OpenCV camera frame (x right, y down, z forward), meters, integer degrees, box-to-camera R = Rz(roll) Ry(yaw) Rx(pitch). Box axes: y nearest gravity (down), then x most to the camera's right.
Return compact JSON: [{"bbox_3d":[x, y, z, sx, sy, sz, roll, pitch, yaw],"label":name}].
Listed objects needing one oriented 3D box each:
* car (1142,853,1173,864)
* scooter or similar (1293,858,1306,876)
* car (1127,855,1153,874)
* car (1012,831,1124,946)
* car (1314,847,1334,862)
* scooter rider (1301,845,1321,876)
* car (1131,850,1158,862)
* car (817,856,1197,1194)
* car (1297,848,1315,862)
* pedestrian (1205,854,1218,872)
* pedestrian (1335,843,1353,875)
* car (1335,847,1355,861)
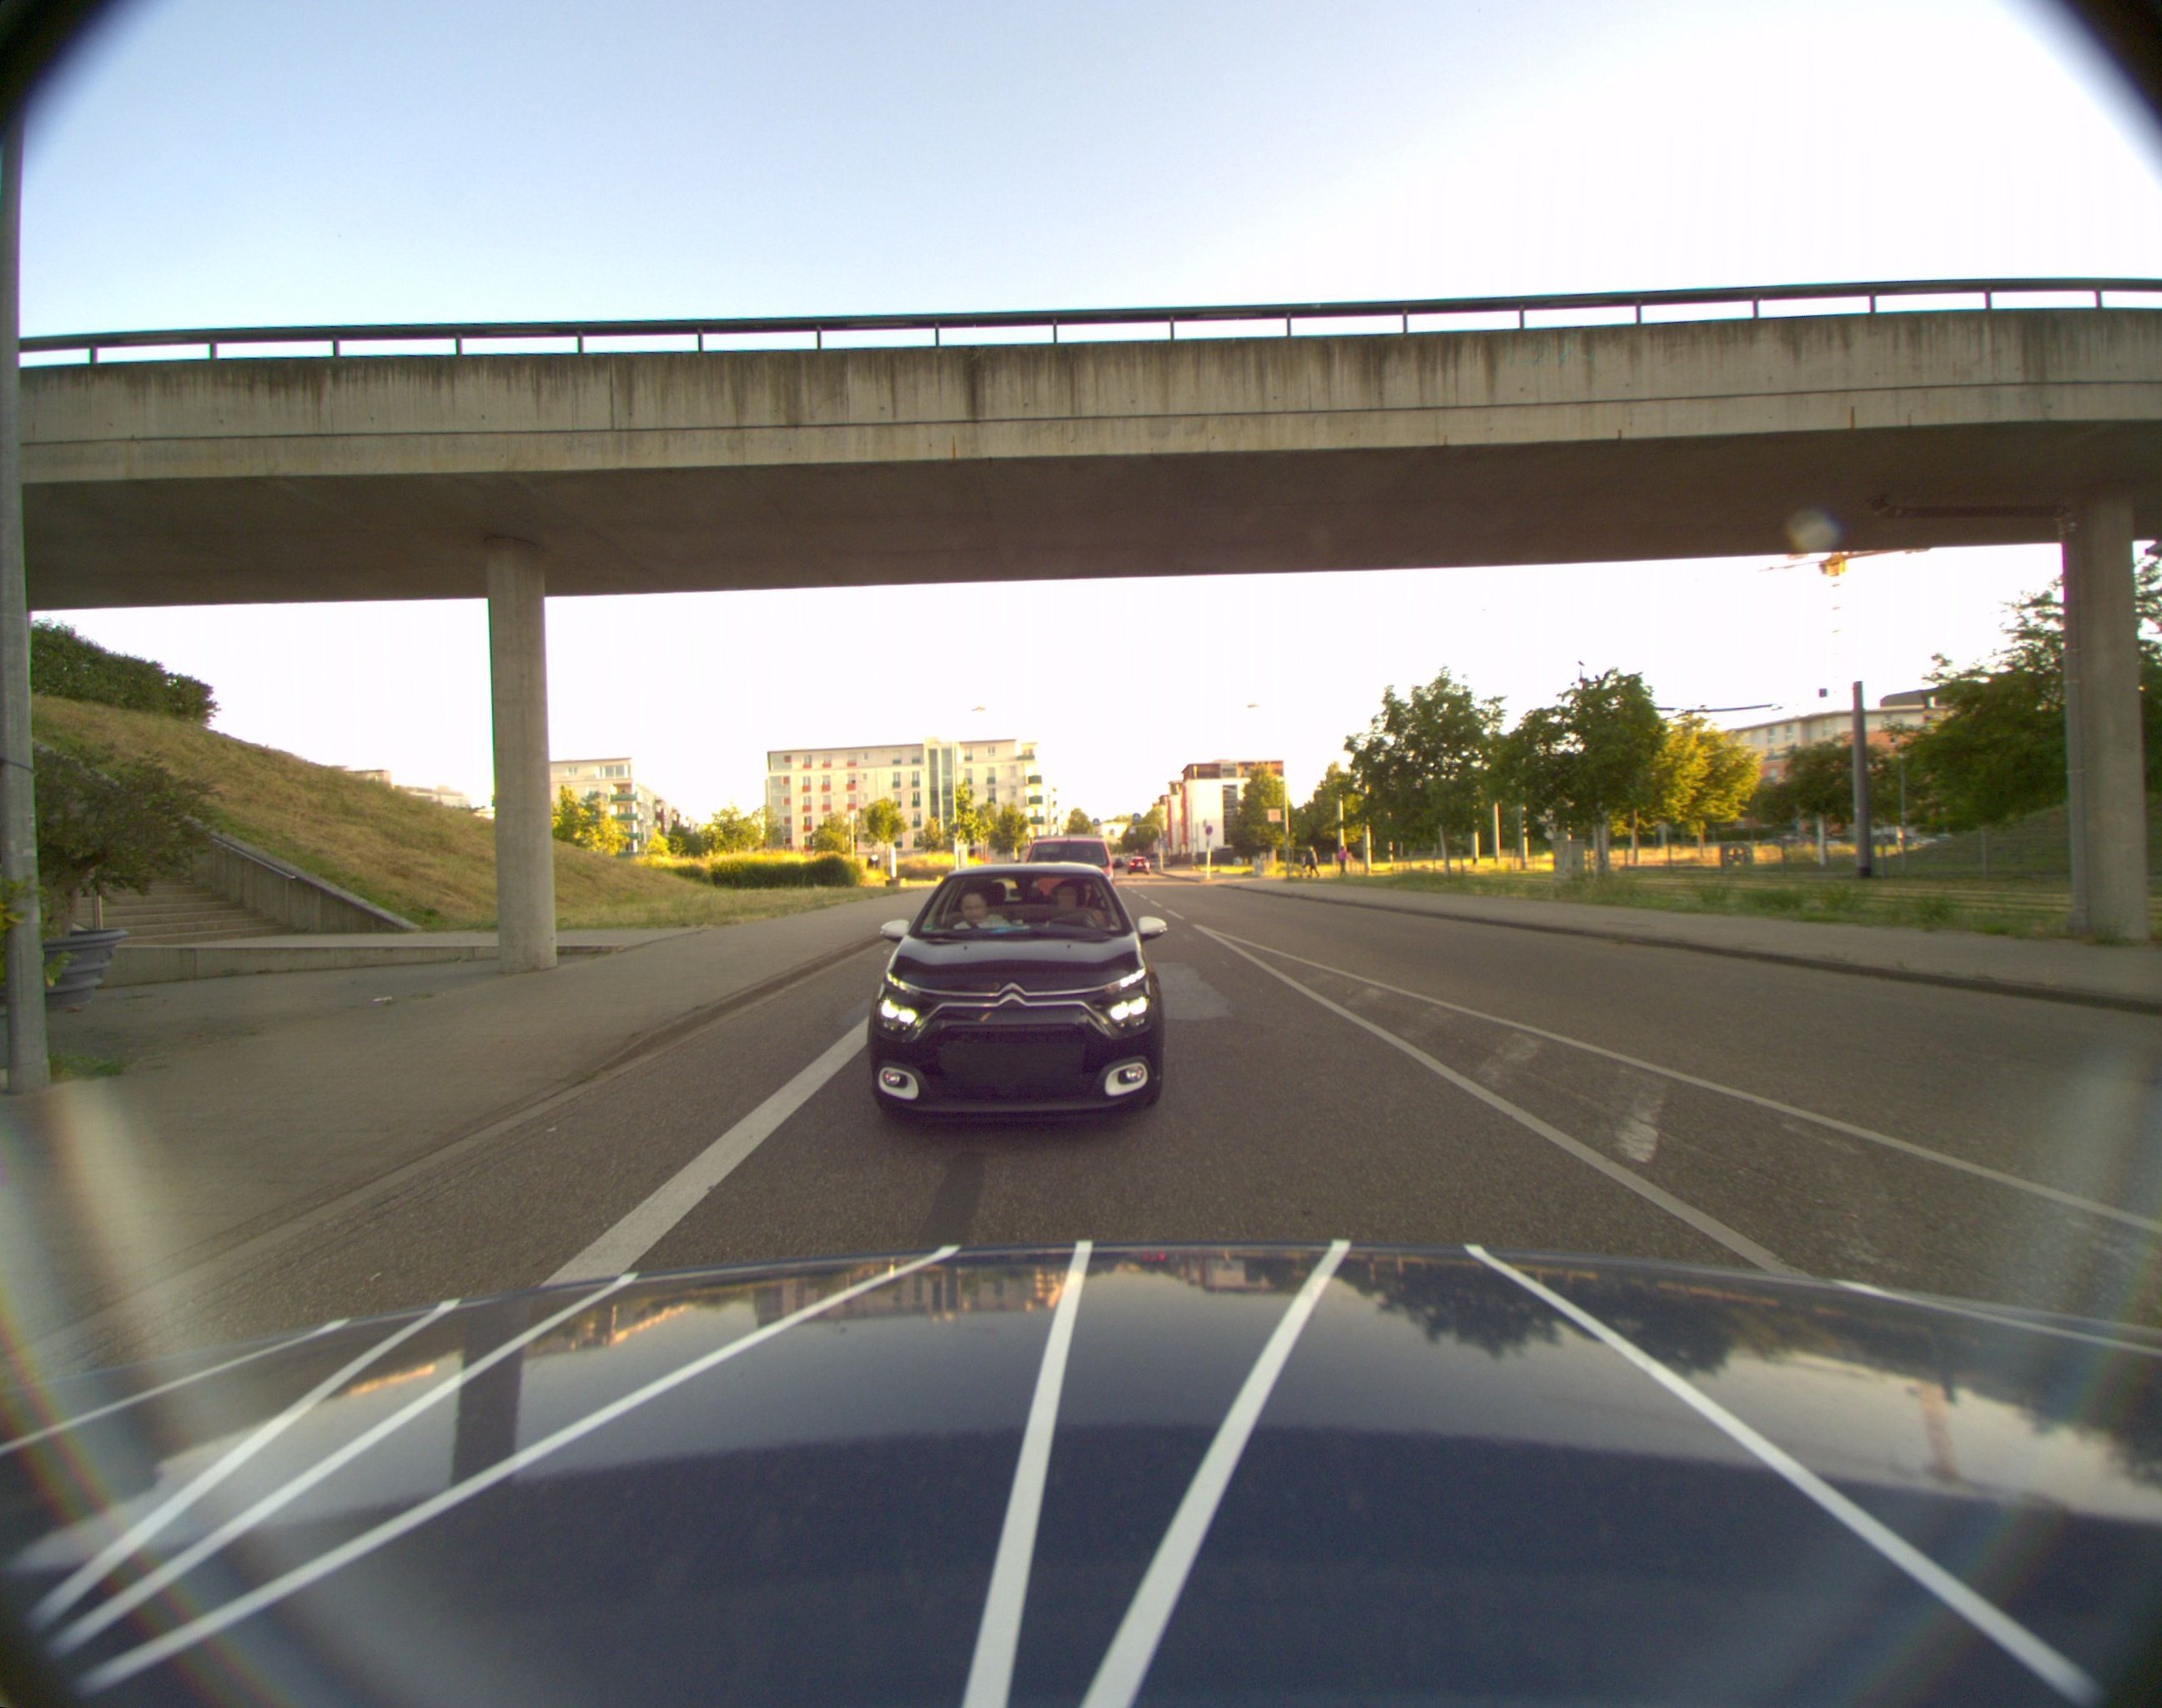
[{"bbox_3d":[11.451,0.659,113.993,4.387,1.550,1.839,-2,1,2],"label":"car"},{"bbox_3d":[11.493,0.692,39.960,0.552,0.890,0.723,-1,1,10],"label":"scooter or similar"},{"bbox_3d":[5.173,0.902,67.161,1.998,1.554,4.000,-2,0,1],"label":"car"},{"bbox_3d":[-0.234,0.632,16.159,1.931,1.979,4.822,-3,0,0],"label":"car"},{"bbox_3d":[30.984,0.047,96.854,1.869,1.710,3.848,-2,0,9],"label":"car"},{"bbox_3d":[12.062,0.350,39.852,0.897,1.568,0.712,-2,0,11],"label":"scooter rider"},{"bbox_3d":[12.035,0.315,144.171,4.745,2.002,1.999,-2,1,-2],"label":"car"},{"bbox_3d":[-0.401,0.822,5.668,1.760,1.543,4.071,-2,0,-2],"label":"car"},{"bbox_3d":[28.731,0.136,97.195,1.869,1.710,3.848,-2,0,12],"label":"car"},{"bbox_3d":[15.346,1.027,89.361,1.088,2.002,1.141,-2,1,29],"label":"pedestrian"},{"bbox_3d":[13.360,0.258,38.650,0.779,1.602,0.417,-2,0,12],"label":"pedestrian"},{"bbox_3d":[33.495,-0.046,96.580,1.869,1.710,3.848,-2,0,12],"label":"car"}]
